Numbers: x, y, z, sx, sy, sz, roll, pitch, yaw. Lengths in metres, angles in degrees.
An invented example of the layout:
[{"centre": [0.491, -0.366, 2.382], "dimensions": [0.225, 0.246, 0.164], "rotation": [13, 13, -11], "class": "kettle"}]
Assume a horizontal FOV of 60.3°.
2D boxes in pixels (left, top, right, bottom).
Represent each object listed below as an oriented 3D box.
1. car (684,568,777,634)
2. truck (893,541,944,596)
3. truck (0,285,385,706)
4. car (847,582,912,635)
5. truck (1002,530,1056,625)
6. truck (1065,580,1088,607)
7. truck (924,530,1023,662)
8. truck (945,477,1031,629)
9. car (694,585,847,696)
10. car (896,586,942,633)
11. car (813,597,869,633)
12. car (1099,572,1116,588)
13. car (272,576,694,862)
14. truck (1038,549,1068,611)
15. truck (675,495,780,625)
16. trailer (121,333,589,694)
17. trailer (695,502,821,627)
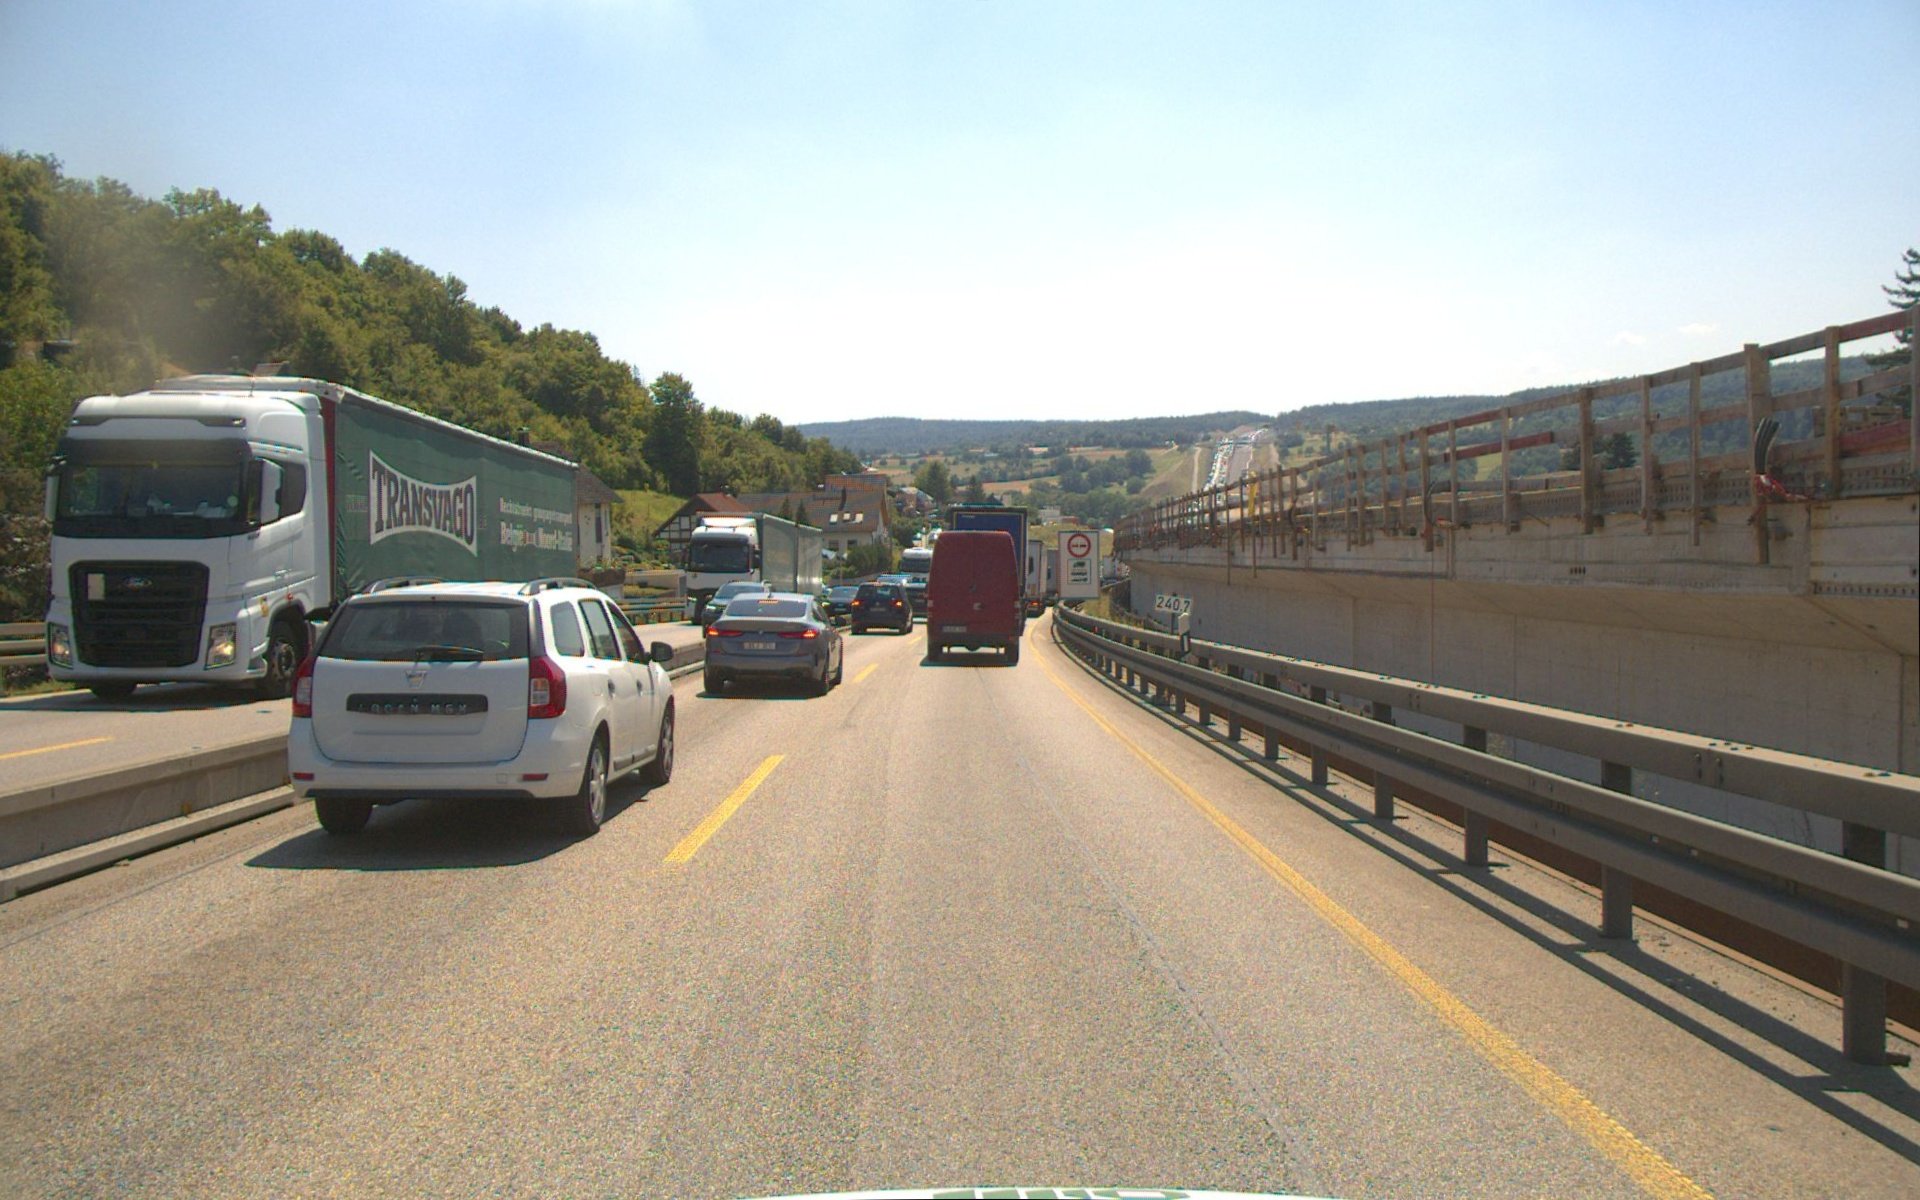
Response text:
[{"centre": [-6.238, 0.021, 45.380], "dimensions": [1.917, 1.710, 4.114], "rotation": [0, 0, 1], "class": "car"}, {"centre": [-3.283, -2.502, 134.313], "dimensions": [2.915, 4.235, 10.552], "rotation": [1, 1, 5], "class": "truck"}, {"centre": [-9.922, -1.206, 21.724], "dimensions": [2.998, 4.906, 4.645], "rotation": [1, -1, 0], "class": "truck"}, {"centre": [-2.559, 0.271, 53.388], "dimensions": [1.772, 1.636, 3.720], "rotation": [1, -1, 2], "class": "car"}, {"centre": [3.789, -1.112, 90.330], "dimensions": [2.728, 4.900, 9.687], "rotation": [1, -1, 2], "class": "truck"}, {"centre": [6.939, -0.396, 98.786], "dimensions": [1.287, 1.569, 3.152], "rotation": [1, -1, 2], "class": "truck"}, {"centre": [0.259, -0.056, 35.144], "dimensions": [1.953, 2.624, 3.999], "rotation": [1, -1, 0], "class": "truck"}, {"centre": [1.100, -1.464, 58.389], "dimensions": [2.728, 4.900, 9.687], "rotation": [1, -1, 2], "class": "truck"}, {"centre": [-2.727, 0.540, 24.604], "dimensions": [1.758, 1.511, 4.050], "rotation": [0, 0, 0], "class": "car"}, {"centre": [-1.673, 0.402, 69.044], "dimensions": [1.693, 1.870, 4.001], "rotation": [1, -1, 2], "class": "car"}, {"centre": [-5.148, 0.655, 72.354], "dimensions": [1.862, 1.488, 4.758], "rotation": [1, -1, 3], "class": "car"}, {"centre": [19.985, -2.643, 223.797], "dimensions": [2.086, 2.049, 4.003], "rotation": [1, -1, 9], "class": "car"}, {"centre": [-2.942, 0.658, 11.150], "dimensions": [1.618, 1.509, 4.266], "rotation": [-2, 0, -1], "class": "car"}, {"centre": [6.901, -1.474, 121.992], "dimensions": [1.951, 4.458, 4.003], "rotation": [1, -1, 7], "class": "truck"}, {"centre": [-8.674, -1.400, 62.474], "dimensions": [2.787, 4.660, 5.790], "rotation": [1, -1, 3], "class": "truck"}, {"centre": [-9.843, -1.116, 29.618], "dimensions": [3.001, 4.900, 14.002], "rotation": [1, -1, 1], "class": "trailer"}, {"centre": [-8.284, -1.273, 70.065], "dimensions": [2.774, 4.723, 14.585], "rotation": [1, -1, 3], "class": "trailer"}]
